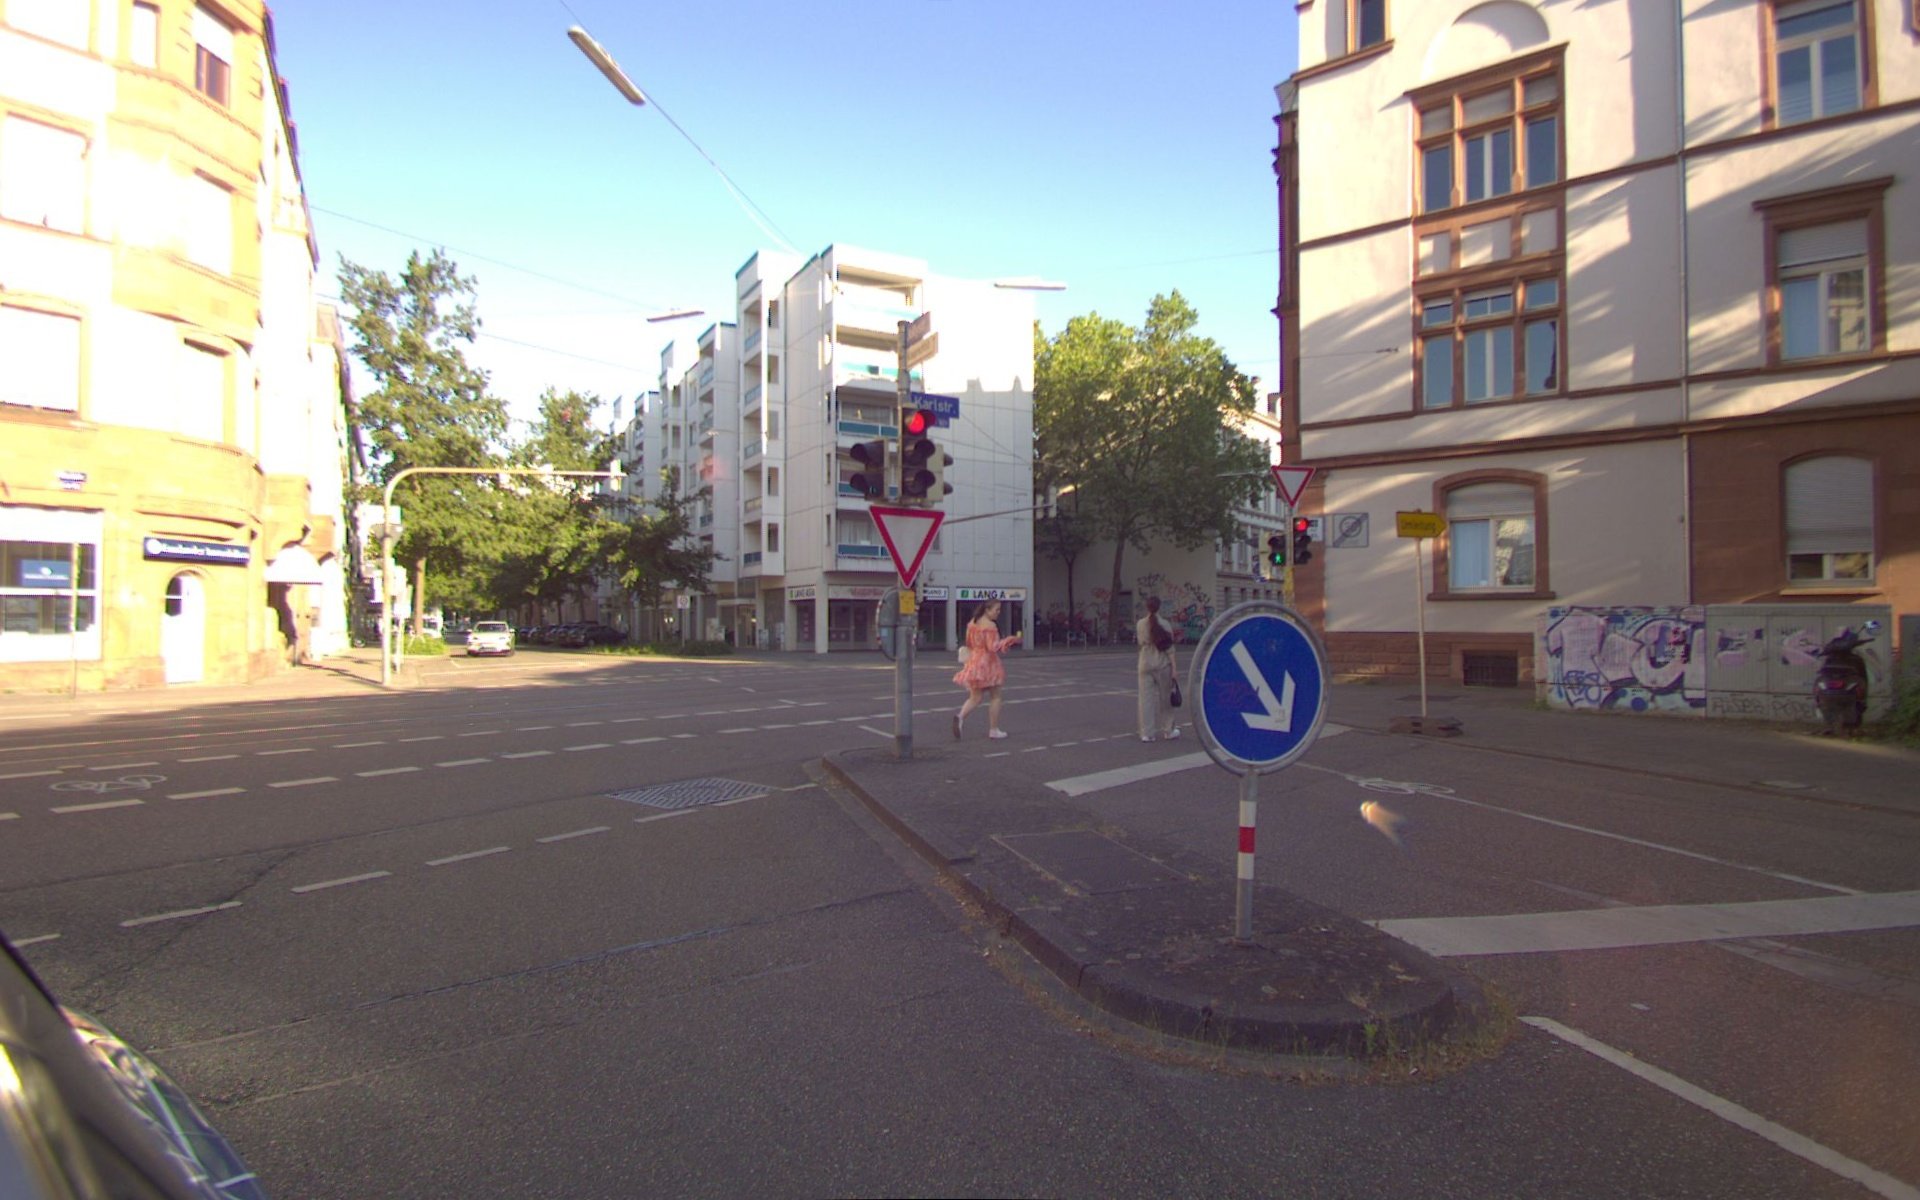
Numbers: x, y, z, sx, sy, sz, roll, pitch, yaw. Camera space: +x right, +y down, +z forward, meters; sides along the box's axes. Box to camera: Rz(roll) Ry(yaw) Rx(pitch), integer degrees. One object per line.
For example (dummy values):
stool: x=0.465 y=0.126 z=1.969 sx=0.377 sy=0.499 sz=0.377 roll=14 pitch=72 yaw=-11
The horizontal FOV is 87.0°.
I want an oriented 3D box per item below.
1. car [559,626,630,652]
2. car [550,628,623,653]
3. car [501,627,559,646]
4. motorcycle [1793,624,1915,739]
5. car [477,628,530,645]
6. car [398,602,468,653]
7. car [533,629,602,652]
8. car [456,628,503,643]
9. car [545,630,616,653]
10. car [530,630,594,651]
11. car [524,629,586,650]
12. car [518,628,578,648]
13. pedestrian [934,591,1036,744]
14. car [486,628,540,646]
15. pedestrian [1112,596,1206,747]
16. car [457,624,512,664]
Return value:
car: x=-23.900 y=2.535 z=66.254 sx=3.935 sy=1.597 sz=2.004 roll=1 pitch=-2 yaw=-37
car: x=-25.208 y=2.693 z=68.327 sx=4.234 sy=1.597 sz=2.004 roll=1 pitch=-2 yaw=-37
car: x=-36.891 y=3.128 z=86.839 sx=4.233 sy=1.597 sz=2.005 roll=1 pitch=-2 yaw=-35
motorcycle: x=10.846 y=0.932 z=12.250 sx=2.078 sy=1.275 sz=0.844 roll=1 pitch=-2 yaw=-42
car: x=-42.846 y=3.418 z=95.028 sx=4.233 sy=1.597 sz=2.005 roll=1 pitch=-2 yaw=-35
car: x=-35.509 y=1.826 z=68.023 sx=3.270 sy=3.203 sz=8.104 roll=1 pitch=-2 yaw=-34
car: x=-28.095 y=2.868 z=72.416 sx=4.234 sy=1.597 sz=2.004 roll=1 pitch=-2 yaw=-37
car: x=-51.113 y=3.765 z=107.711 sx=4.233 sy=1.597 sz=2.005 roll=1 pitch=-2 yaw=-35
car: x=-26.447 y=2.871 z=70.608 sx=4.234 sy=1.597 sz=2.004 roll=1 pitch=-2 yaw=-37
car: x=-30.828 y=3.132 z=78.478 sx=4.233 sy=1.597 sz=2.005 roll=1 pitch=-2 yaw=-35
car: x=-32.361 y=3.123 z=80.853 sx=4.233 sy=1.597 sz=2.005 roll=1 pitch=-2 yaw=-35
car: x=-33.733 y=3.125 z=82.847 sx=4.233 sy=1.597 sz=2.005 roll=1 pitch=-2 yaw=-35
pedestrian: x=0.308 y=0.768 z=11.976 sx=0.865 sy=1.710 sz=0.975 roll=-1 pitch=-2 yaw=28
car: x=-41.000 y=3.378 z=92.847 sx=4.233 sy=1.597 sz=2.005 roll=1 pitch=-2 yaw=-35
pedestrian: x=2.403 y=0.832 z=12.186 sx=0.865 sy=1.710 sz=0.975 roll=-1 pitch=-2 yaw=28
car: x=-22.265 y=2.026 z=47.280 sx=1.966 sy=1.763 sz=4.012 roll=1 pitch=-2 yaw=-30
